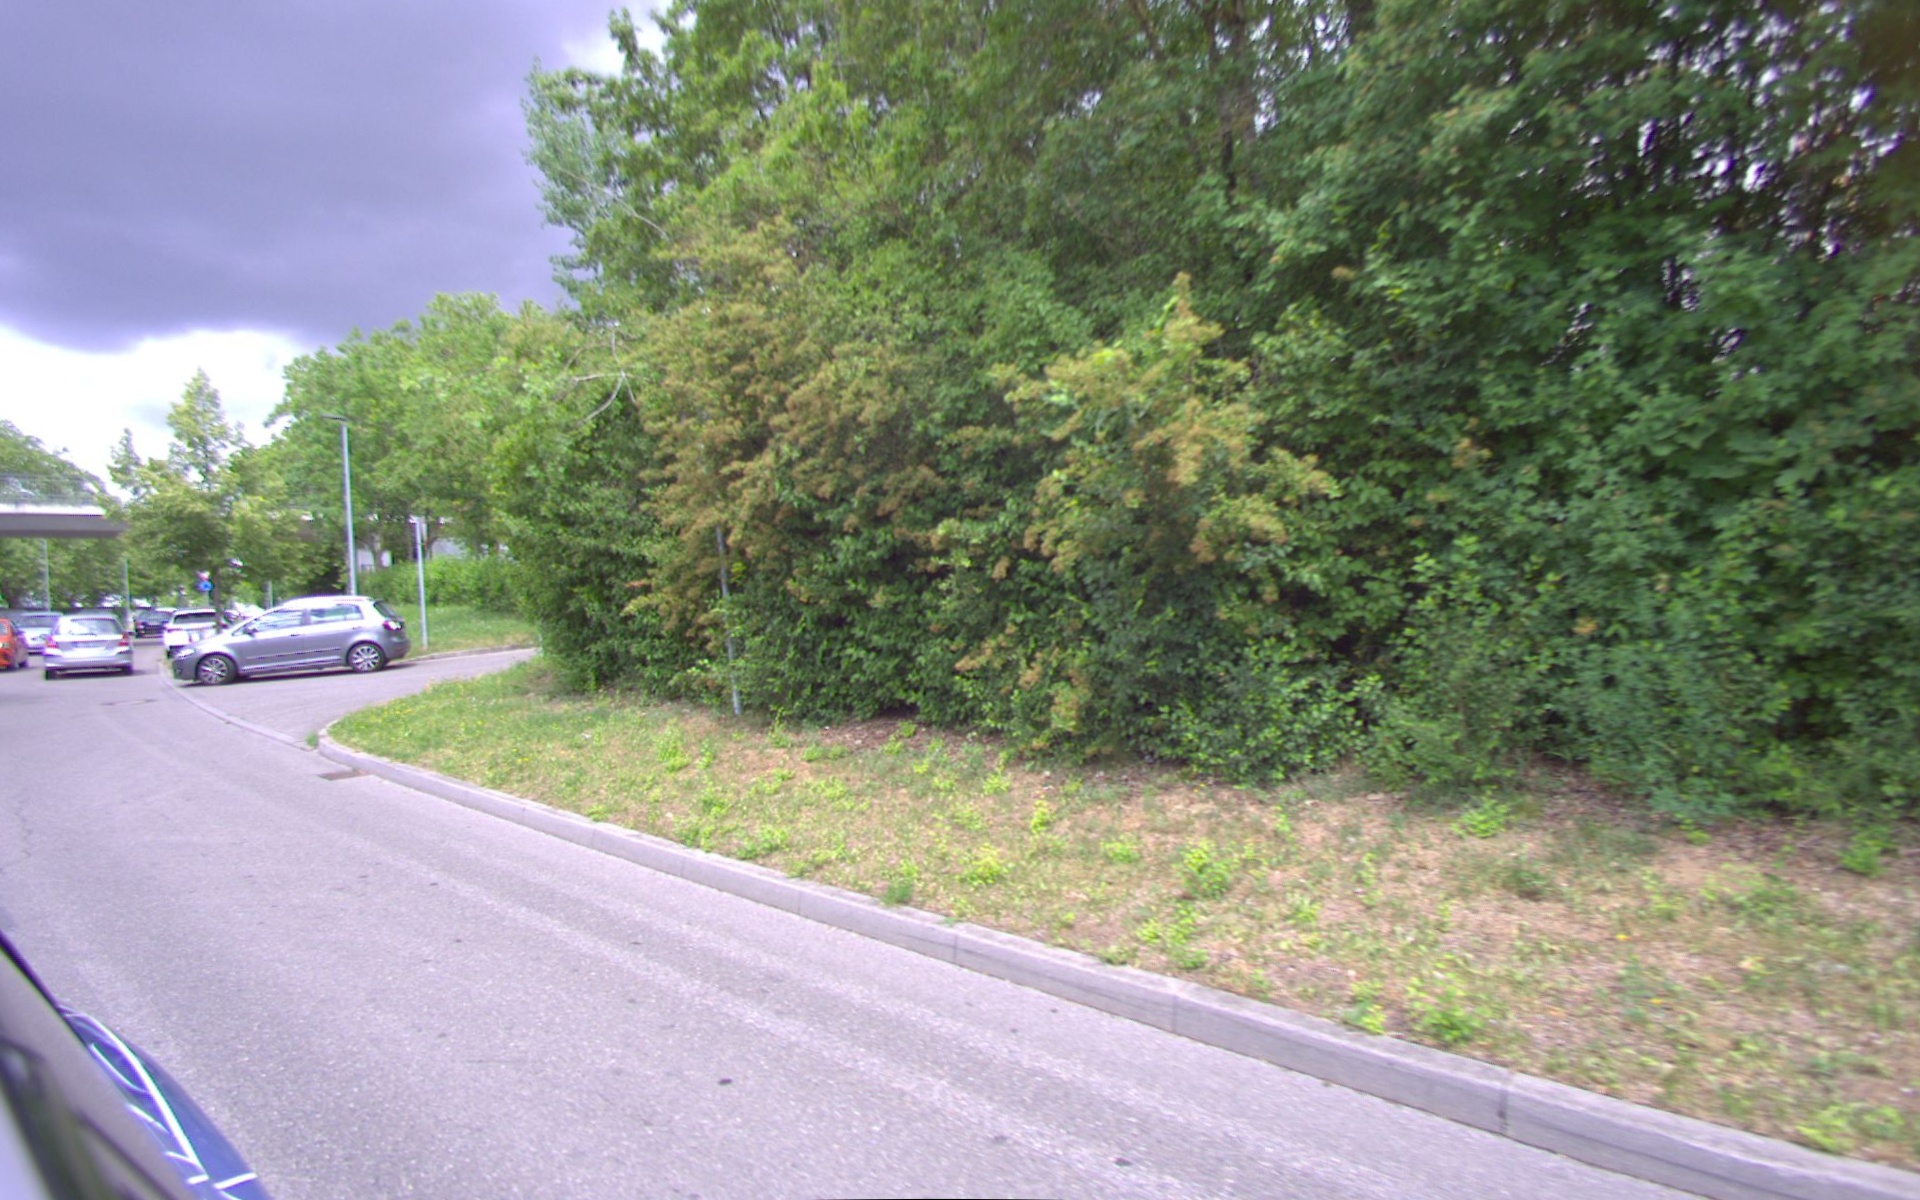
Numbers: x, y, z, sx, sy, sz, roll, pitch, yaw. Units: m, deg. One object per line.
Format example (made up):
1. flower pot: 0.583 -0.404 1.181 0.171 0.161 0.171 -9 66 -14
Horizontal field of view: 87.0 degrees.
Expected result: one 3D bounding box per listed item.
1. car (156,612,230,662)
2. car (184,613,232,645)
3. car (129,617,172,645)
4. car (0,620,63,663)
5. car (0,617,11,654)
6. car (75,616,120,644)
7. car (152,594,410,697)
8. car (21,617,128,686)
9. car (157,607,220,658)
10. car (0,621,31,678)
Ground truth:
1. car: -24.603 1.127 32.524 1.785 1.415 4.057 -1 1 -37
2. car: -40.797 1.539 54.963 1.783 1.582 3.732 -1 1 -33
3. car: -44.504 1.663 55.701 1.729 1.430 4.377 -1 0 -38
4. car: -35.024 1.516 37.988 1.753 1.463 4.008 -1 1 -38
5. car: -40.667 1.505 41.867 1.580 1.498 3.731 -1 1 -36
6. car: -46.007 1.585 54.021 1.753 1.431 4.007 0 -1 -39
7. car: -13.794 0.859 20.866 4.049 1.674 1.764 -5 2 -23
8. car: -21.544 1.194 24.749 1.818 1.467 3.659 -1 1 -39
9. car: -27.519 1.126 36.166 1.573 1.596 2.692 -6 3 -35
10. car: -26.439 1.323 27.144 1.833 1.453 4.009 -2 0 -37
